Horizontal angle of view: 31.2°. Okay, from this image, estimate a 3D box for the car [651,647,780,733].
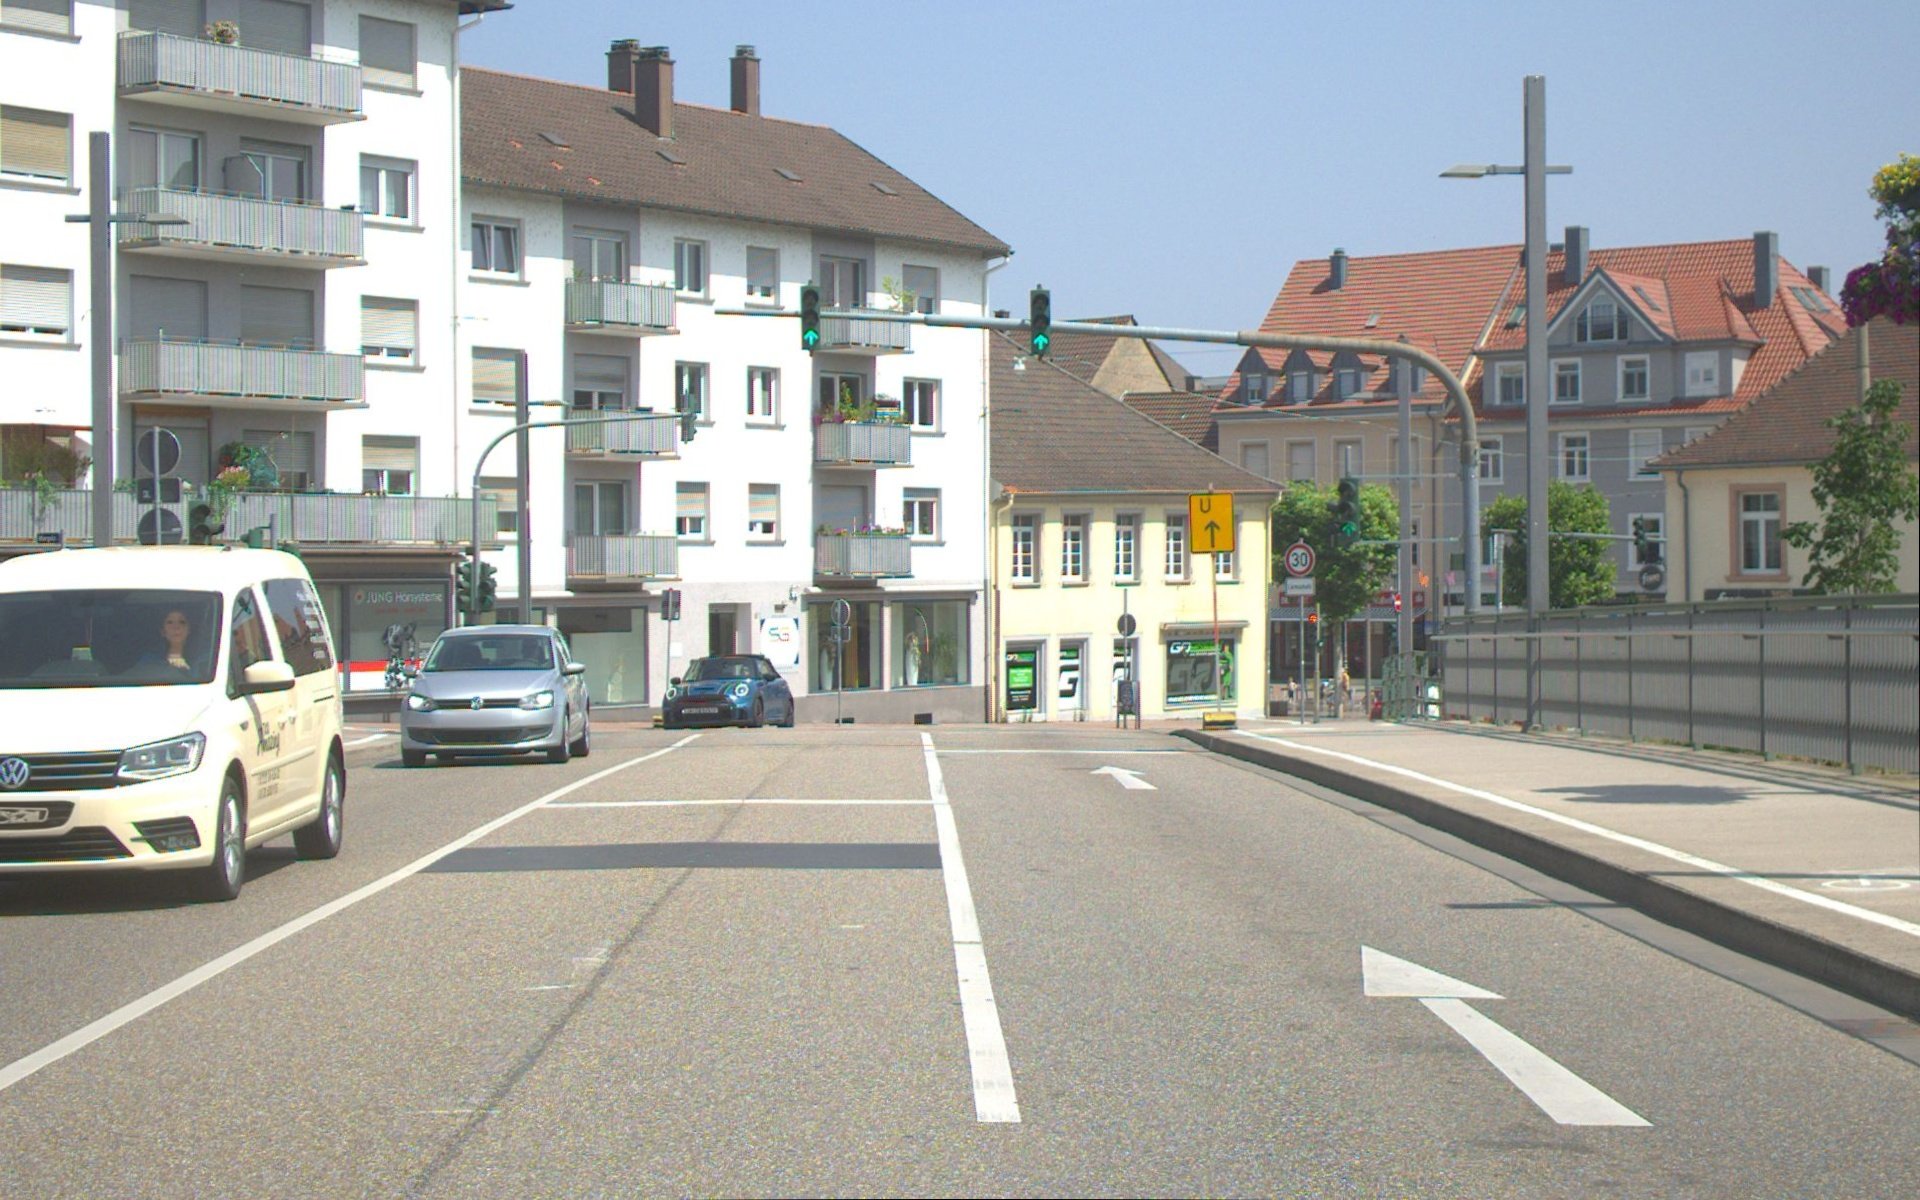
[{"bbox_3d":[-4.339,1.589,61.384,1.657,1.435,3.754,-1,-1,6],"label":"car"}]

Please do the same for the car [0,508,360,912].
[{"bbox_3d":[-4.454,0.522,18.295,1.759,1.851,4.647,-2,0,-1],"label":"car"}]

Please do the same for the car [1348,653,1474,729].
[{"bbox_3d":[10.810,2.148,82.191,1.992,1.607,4.338,0,1,21],"label":"car"}]

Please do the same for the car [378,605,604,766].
[{"bbox_3d":[-4.826,0.842,35.858,1.760,1.514,4.000,-1,0,0],"label":"car"}]
